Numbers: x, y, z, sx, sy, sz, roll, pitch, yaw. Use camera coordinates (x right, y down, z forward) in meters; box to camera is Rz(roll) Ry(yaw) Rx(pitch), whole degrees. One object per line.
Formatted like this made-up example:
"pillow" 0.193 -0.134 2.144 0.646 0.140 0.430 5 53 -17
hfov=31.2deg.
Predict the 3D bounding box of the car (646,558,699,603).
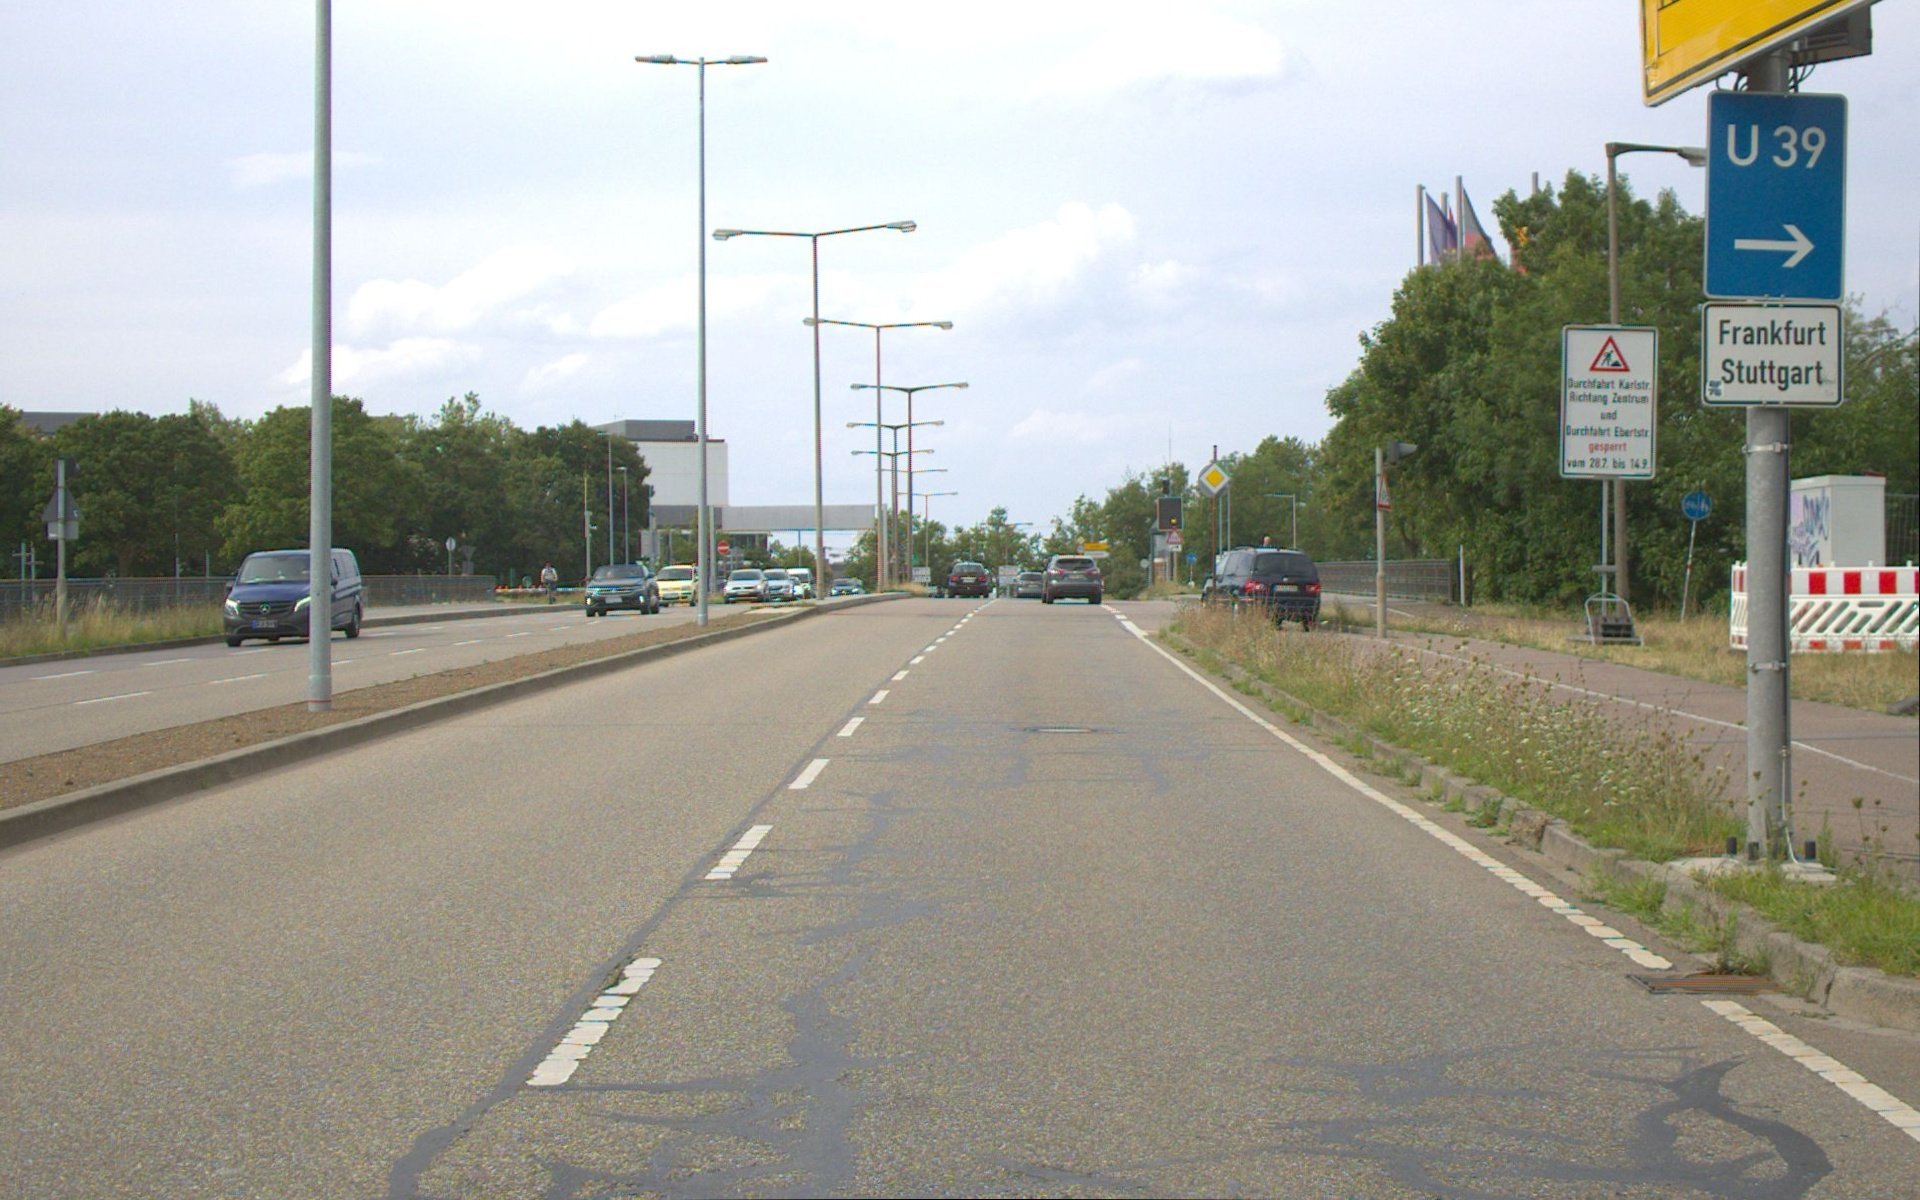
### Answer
"car" -10.611 -0.730 127.182 1.548 1.572 3.691 -2 1 1

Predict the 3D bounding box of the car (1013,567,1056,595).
"car" 4.176 -1.077 192.856 1.730 1.521 4.116 1 0 -8

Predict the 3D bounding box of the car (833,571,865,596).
"car" -7.083 -1.020 219.490 1.738 1.476 4.776 -2 -1 1

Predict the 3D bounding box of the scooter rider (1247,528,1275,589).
"scooter rider" 8.316 -1.150 95.029 0.587 1.685 0.744 1 0 -7

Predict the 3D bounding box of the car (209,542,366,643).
"car" -13.456 -0.184 69.109 1.847 1.887 5.504 2 1 2

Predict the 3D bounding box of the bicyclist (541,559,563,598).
"bicyclist" -16.845 -0.883 142.028 0.795 1.621 0.976 1 0 -1

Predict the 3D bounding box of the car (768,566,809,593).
"car" -9.632 -1.149 193.679 1.738 1.475 4.470 -2 0 4

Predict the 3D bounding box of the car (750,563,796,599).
"car" -9.379 -0.955 172.776 1.863 1.719 4.770 -2 0 2

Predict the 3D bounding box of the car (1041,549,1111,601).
"car" 3.792 -0.811 112.637 1.730 1.647 4.115 1 0 -6

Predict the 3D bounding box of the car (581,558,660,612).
"car" -9.717 -0.452 98.665 1.763 1.436 4.177 -2 1 1

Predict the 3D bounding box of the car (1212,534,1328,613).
"car" 6.657 -0.546 74.289 1.730 1.647 4.115 1 0 -6

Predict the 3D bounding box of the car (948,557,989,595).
"car" 0.404 -1.084 157.163 1.730 1.647 4.114 1 0 2

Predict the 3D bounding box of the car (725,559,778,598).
"car" -8.642 -0.899 142.790 1.650 1.510 4.015 -2 1 4
